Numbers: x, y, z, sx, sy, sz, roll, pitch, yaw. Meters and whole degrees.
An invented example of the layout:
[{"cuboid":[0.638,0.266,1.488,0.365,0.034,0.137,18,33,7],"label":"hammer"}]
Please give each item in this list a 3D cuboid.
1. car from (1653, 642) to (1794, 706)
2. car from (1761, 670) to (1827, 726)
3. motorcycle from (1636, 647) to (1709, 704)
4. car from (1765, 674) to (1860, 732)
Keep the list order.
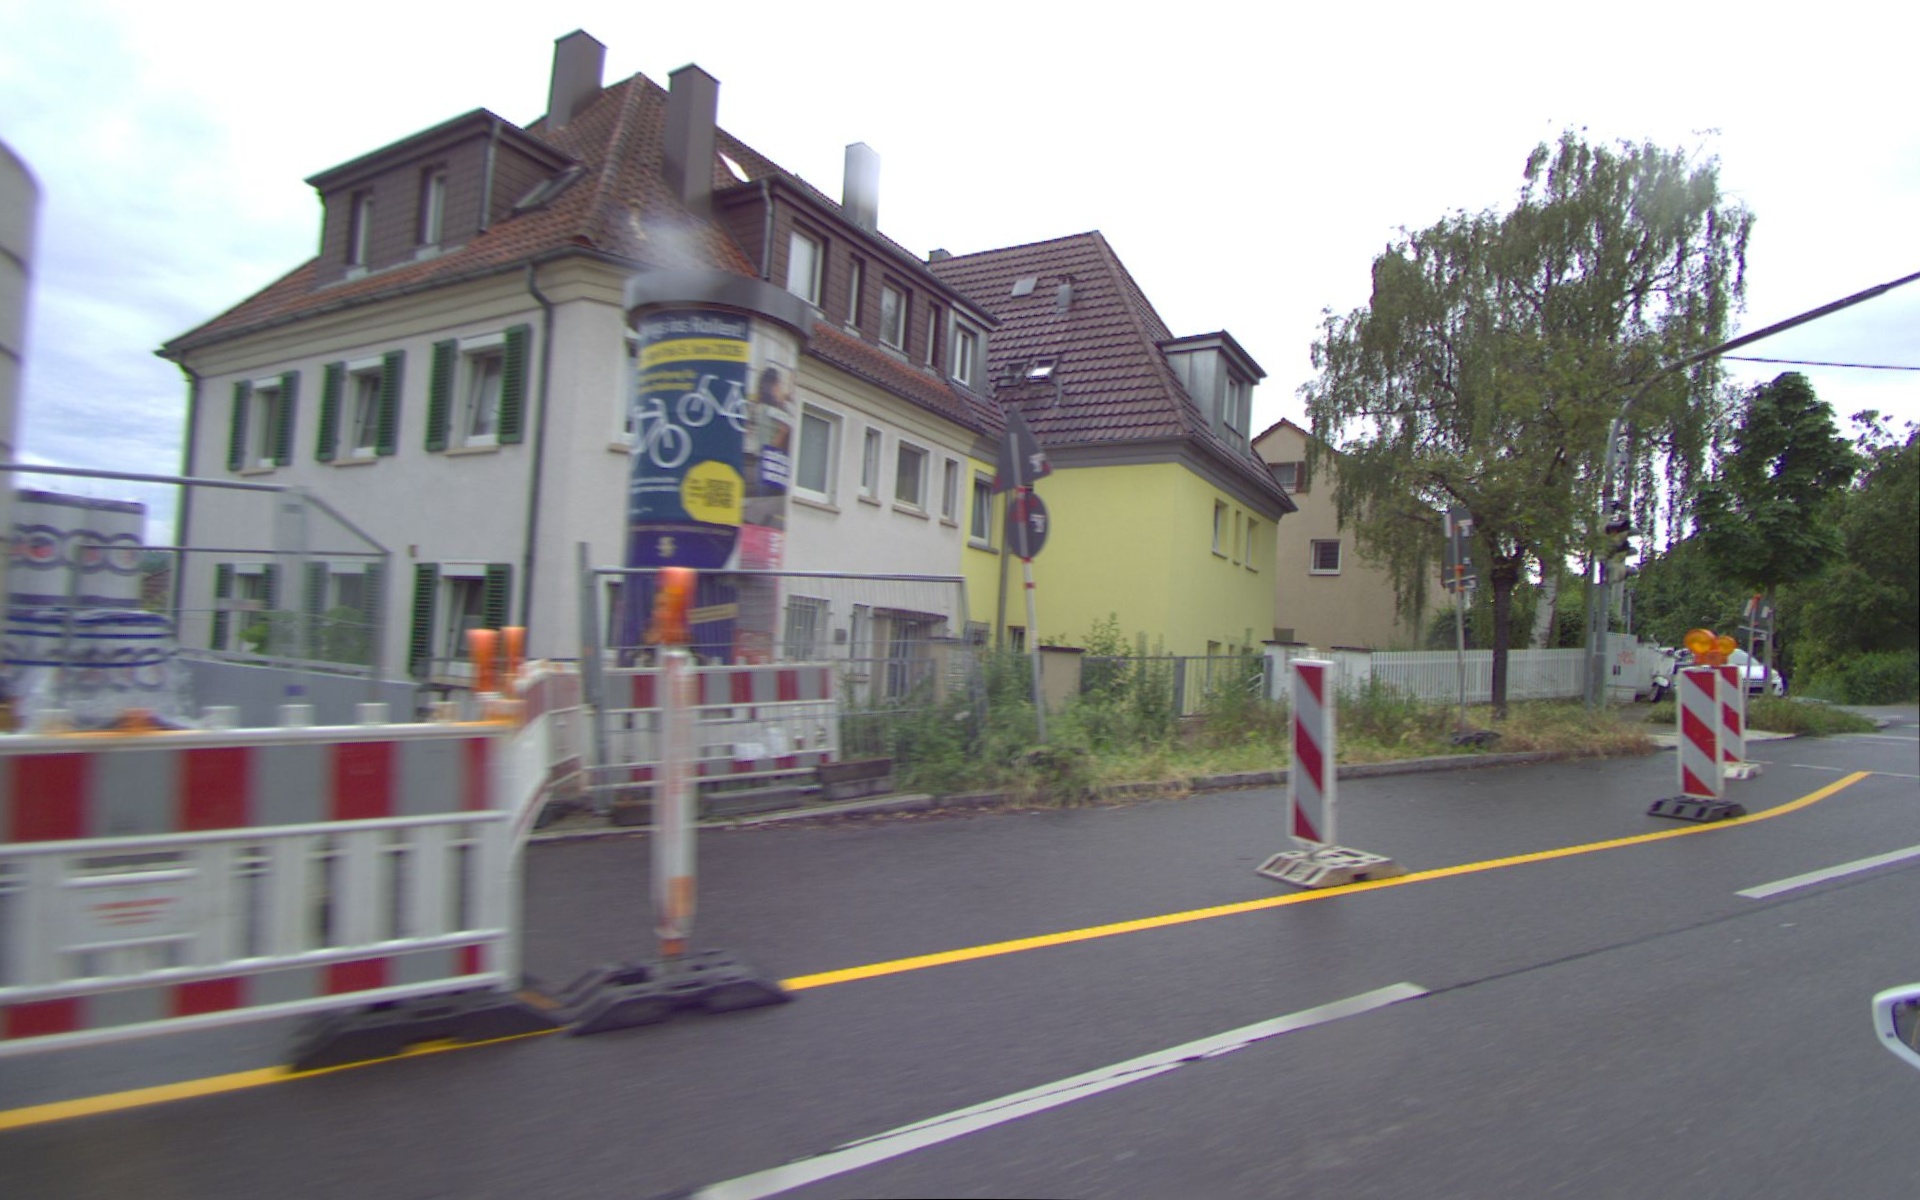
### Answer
[{"cuboid":[19.941,1.961,26.435,1.656,1.528,4.014,-2,-5,18],"label":"car"},{"cuboid":[34.746,4.018,41.929,1.724,2.040,3.988,1,-1,35],"label":"car"},{"cuboid":[14.949,1.569,21.067,1.823,1.146,0.587,2,-2,-32],"label":"motorcycle"},{"cuboid":[31.773,3.782,37.561,1.813,1.773,3.994,3,0,28],"label":"car"}]
